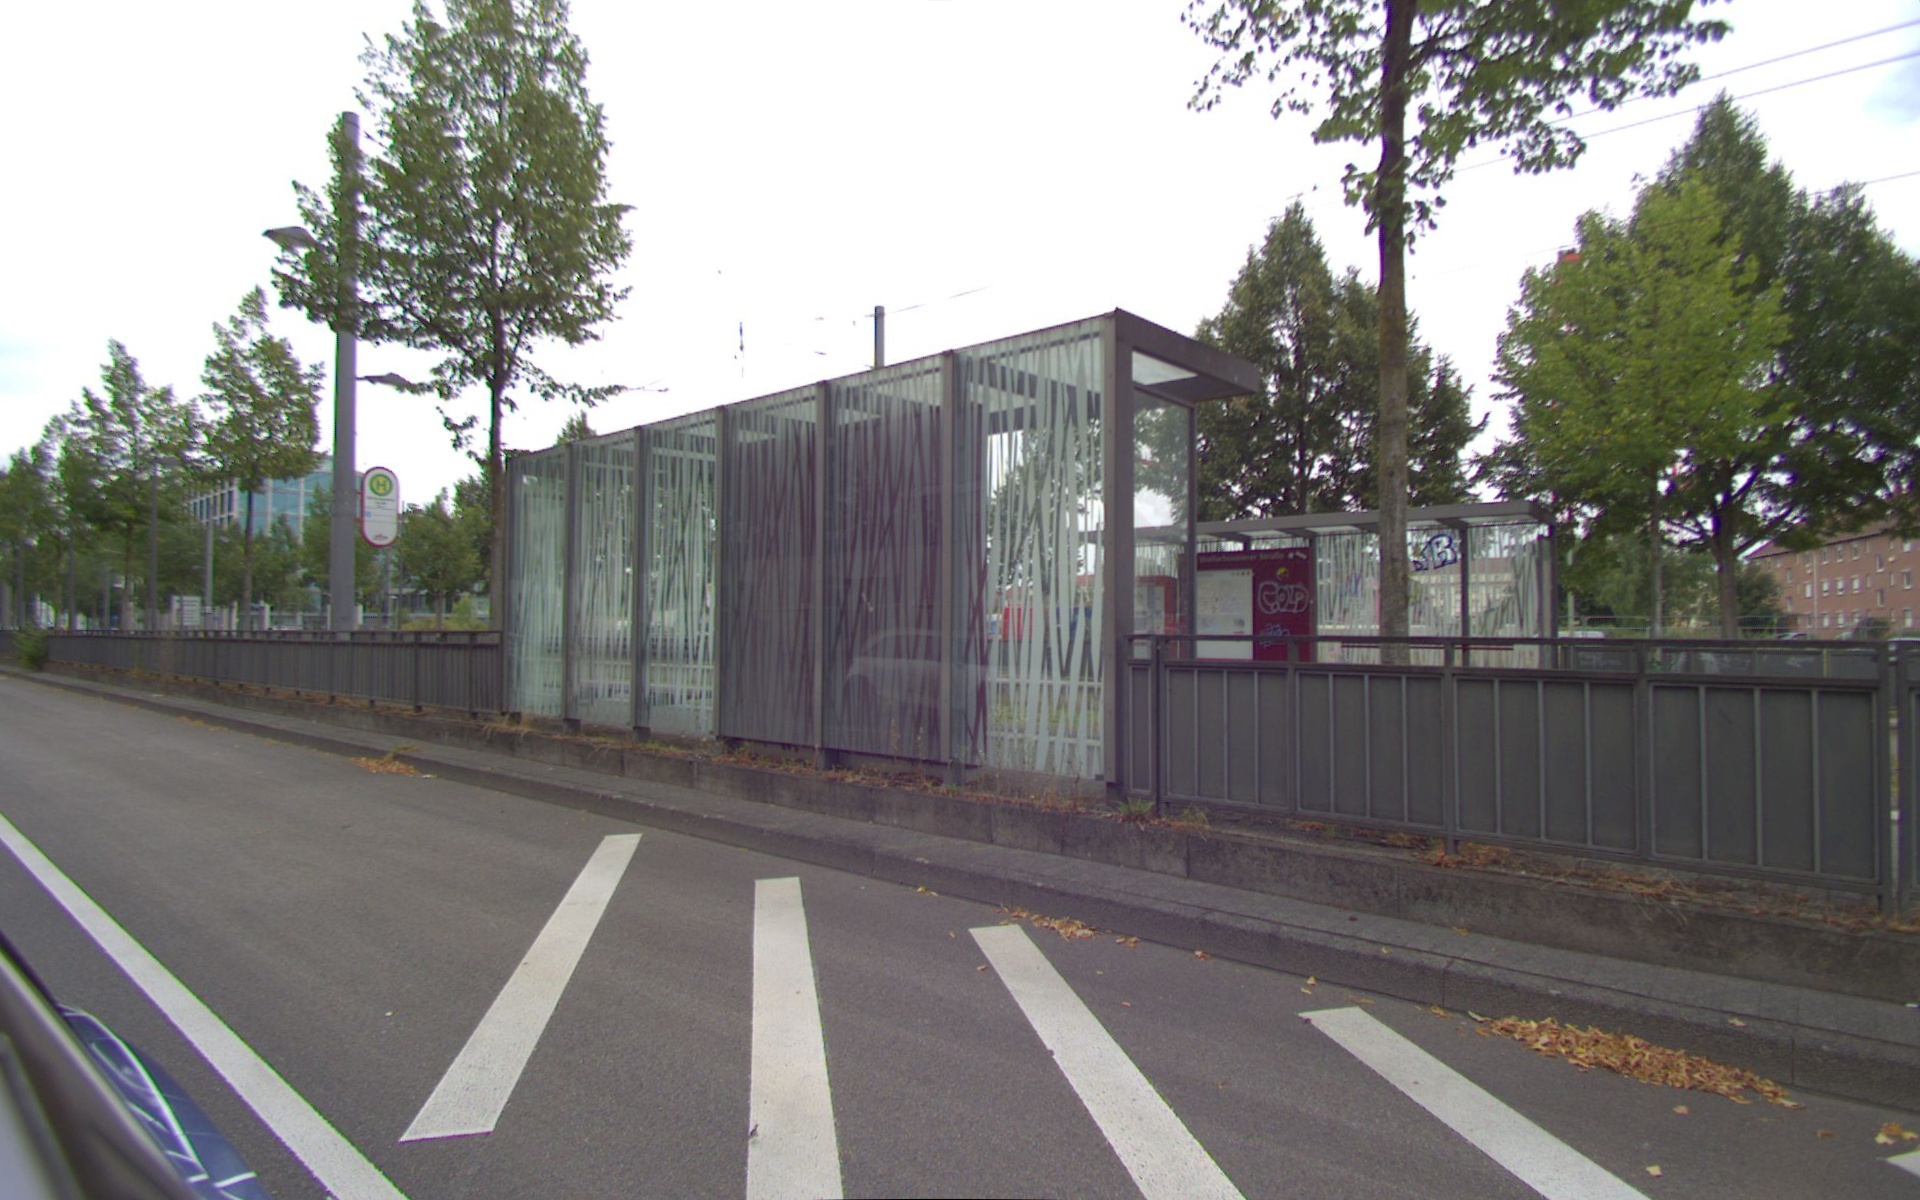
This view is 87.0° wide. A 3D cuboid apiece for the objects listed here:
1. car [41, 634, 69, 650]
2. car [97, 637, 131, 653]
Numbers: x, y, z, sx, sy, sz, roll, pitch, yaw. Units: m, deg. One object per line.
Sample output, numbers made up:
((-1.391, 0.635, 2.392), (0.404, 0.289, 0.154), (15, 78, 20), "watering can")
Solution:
((-114.585, 5.347, 128.164), (5.092, 1.959, 1.973), (-2, -3, 41), "car")
((-87.970, 4.663, 105.165), (4.686, 1.669, 1.809), (-2, -3, 39), "car")
